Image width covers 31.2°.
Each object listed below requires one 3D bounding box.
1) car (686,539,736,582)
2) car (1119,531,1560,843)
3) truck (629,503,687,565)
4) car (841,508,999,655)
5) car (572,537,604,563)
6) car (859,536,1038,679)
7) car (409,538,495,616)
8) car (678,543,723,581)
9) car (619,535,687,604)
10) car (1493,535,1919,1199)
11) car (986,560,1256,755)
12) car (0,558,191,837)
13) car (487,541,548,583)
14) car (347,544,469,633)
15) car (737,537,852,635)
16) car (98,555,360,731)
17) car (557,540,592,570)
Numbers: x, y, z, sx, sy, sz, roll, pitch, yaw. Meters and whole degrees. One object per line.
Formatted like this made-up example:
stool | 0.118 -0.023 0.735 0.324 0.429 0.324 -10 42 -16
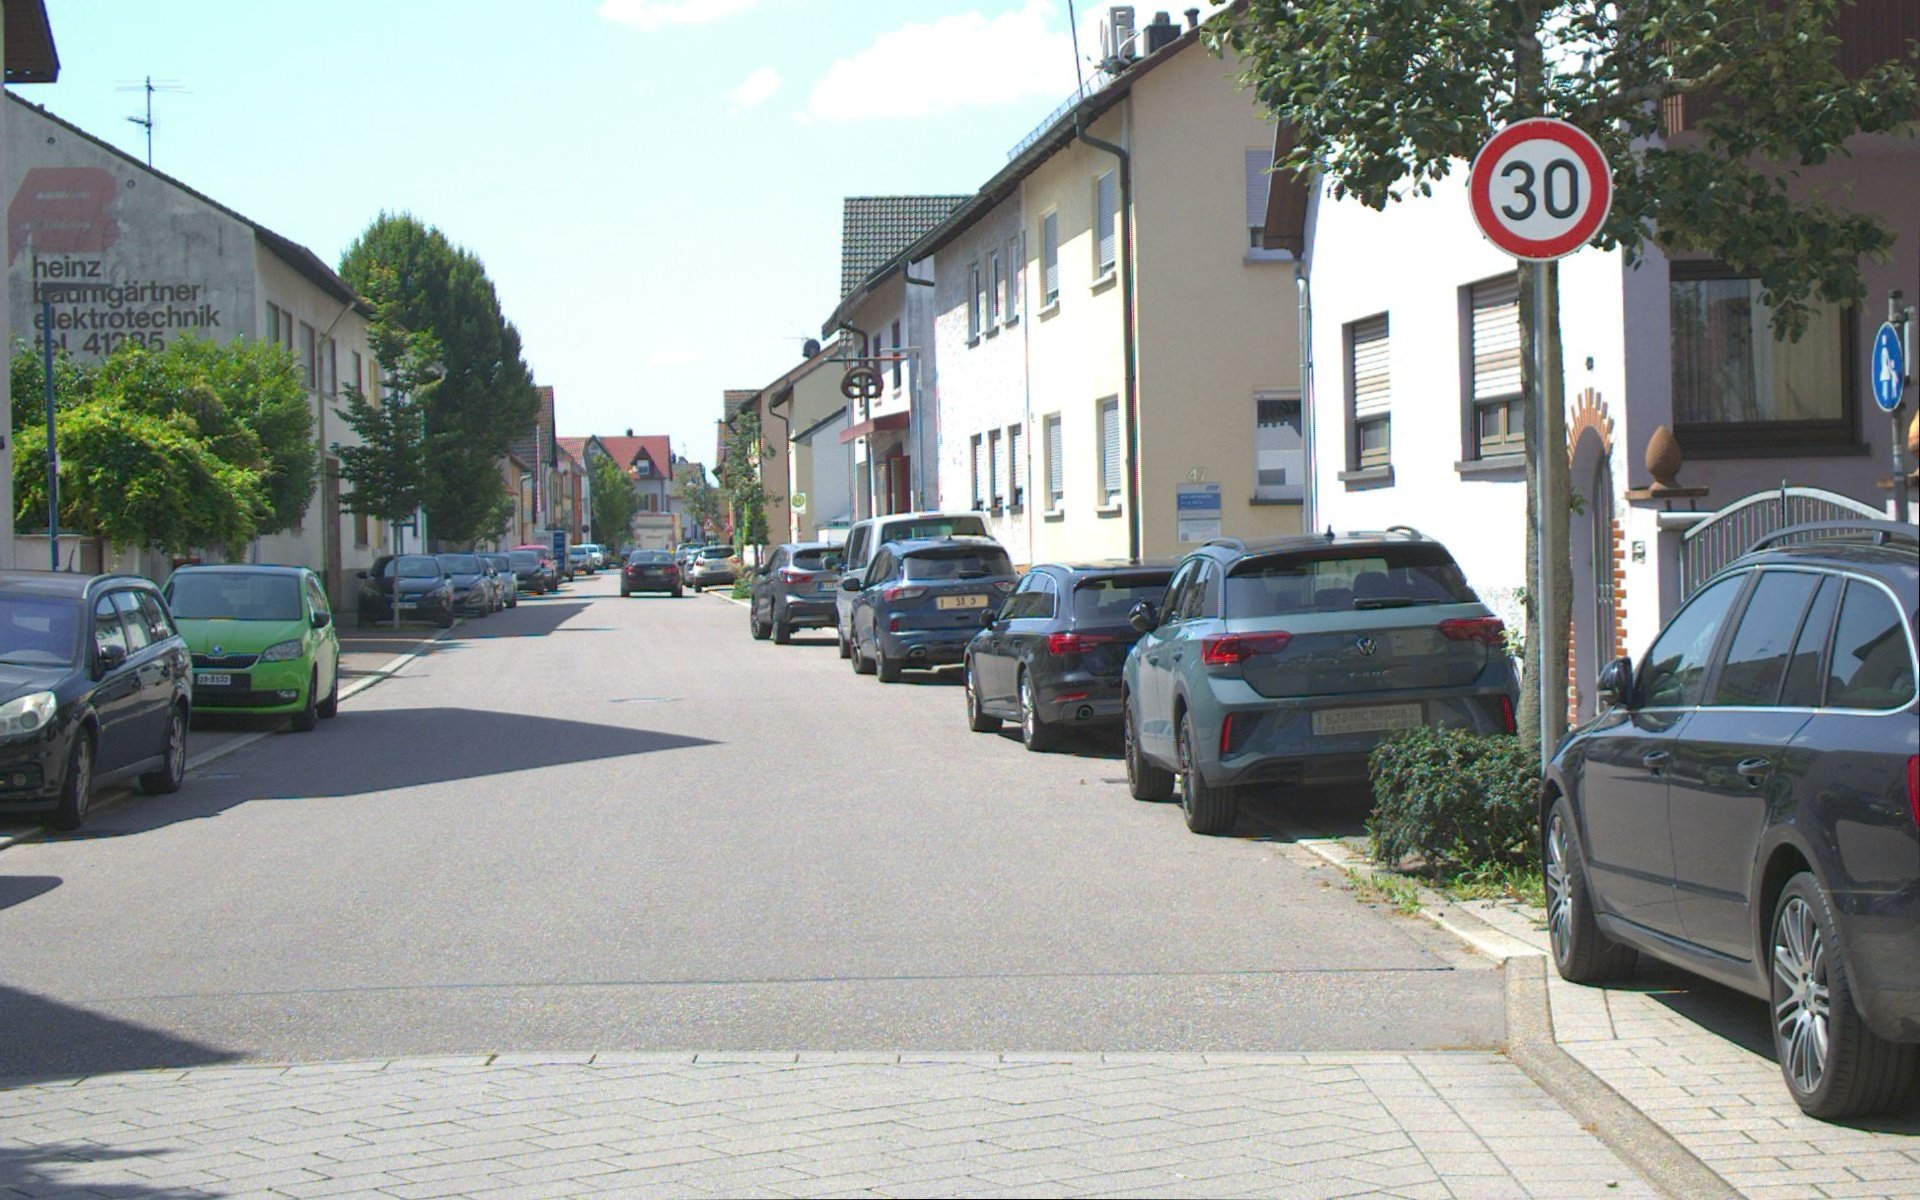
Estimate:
car | -8.794 -1.413 121.608 1.687 1.447 3.793 -1 1 -3
car | 2.022 0.410 19.341 1.846 1.557 3.694 -1 1 -3
truck | -19.668 -4.286 223.491 3.564 3.940 8.583 -1 1 -6
car | -0.581 -0.271 46.283 1.906 1.865 4.001 -1 1 -3
car | -24.360 -3.274 225.165 1.920 1.662 4.001 -1 1 -4
car | -0.183 0.053 40.815 1.877 1.586 4.001 -1 1 -3
car | -11.761 -0.557 79.779 1.683 1.752 3.616 -1 1 -4
car | -10.173 -1.489 135.174 1.687 1.447 3.793 -1 1 -3
car | -9.545 -0.968 107.118 1.993 2.051 4.375 -1 1 -4
car | 2.902 0.554 9.703 1.829 1.466 4.277 -3 1 -3
car | 1.199 0.400 27.054 1.710 1.382 3.706 -1 1 -3
car | -6.046 0.519 21.367 1.750 1.527 4.260 0 1 -3
car | -15.707 -1.352 122.205 1.916 1.437 4.001 -1 1 -4
car | -10.773 -0.246 67.311 1.993 1.656 4.001 -1 1 -4
car | -2.685 -0.247 55.291 1.754 1.487 4.001 -1 1 -3
car | -6.653 0.344 31.635 1.792 1.470 3.871 -1 1 -4
car | -22.423 -2.643 199.890 1.847 1.701 3.720 -1 1 -4
